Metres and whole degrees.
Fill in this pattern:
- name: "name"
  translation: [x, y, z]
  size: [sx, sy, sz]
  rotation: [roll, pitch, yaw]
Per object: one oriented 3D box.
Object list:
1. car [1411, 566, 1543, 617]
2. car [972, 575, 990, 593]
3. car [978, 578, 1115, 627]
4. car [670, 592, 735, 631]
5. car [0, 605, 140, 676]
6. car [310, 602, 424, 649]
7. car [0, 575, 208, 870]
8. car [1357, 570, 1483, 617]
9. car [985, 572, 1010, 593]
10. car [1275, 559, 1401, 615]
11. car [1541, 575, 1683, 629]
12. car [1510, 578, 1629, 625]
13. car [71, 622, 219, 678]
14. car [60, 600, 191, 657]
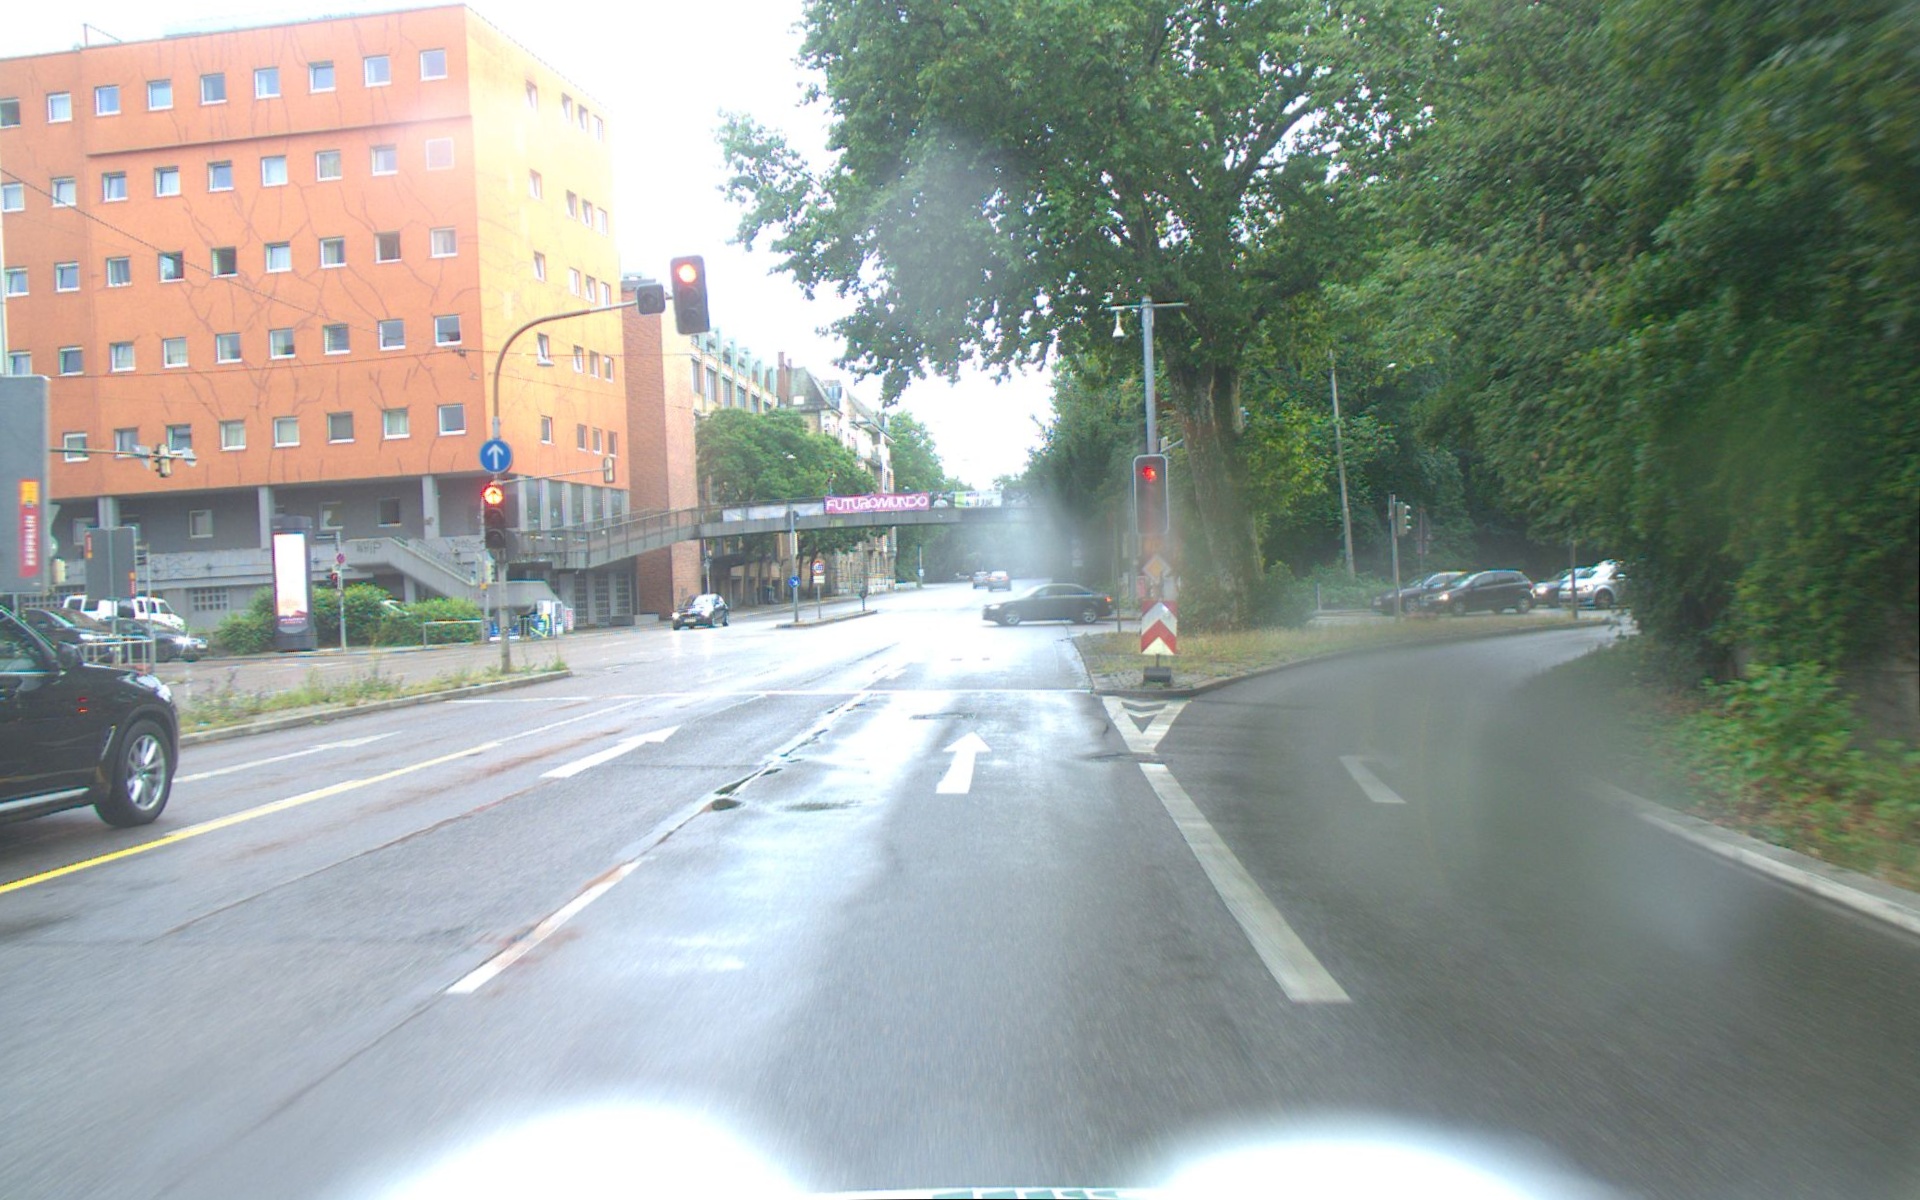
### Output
- name: "car"
  translation: [17.019, -0.272, 54.482]
  size: [3.788, 1.511, 1.667]
  rotation: [-2, -1, -13]
- name: "car"
  translation: [2.166, -1.617, 169.992]
  size: [1.727, 1.726, 3.706]
  rotation: [-4, 0, 2]
- name: "car"
  translation: [3.007, 0.083, 57.973]
  size: [4.514, 1.476, 1.772]
  rotation: [-3, 0, -6]
- name: "car"
  translation: [-10.933, 0.478, 70.447]
  size: [1.952, 1.545, 4.001]
  rotation: [-3, 0, 2]
- name: "car"
  translation: [-28.198, 1.286, 50.948]
  size: [4.968, 1.877, 2.002]
  rotation: [-5, -1, 10]
- name: "car"
  translation: [-24.443, 1.048, 68.234]
  size: [3.929, 1.646, 1.896]
  rotation: [-4, 0, 11]
- name: "car"
  translation: [-6.316, 0.707, 9.321]
  size: [1.907, 1.625, 4.671]
  rotation: [-1, 1, 1]
- name: "car"
  translation: [16.253, -0.238, 58.453]
  size: [3.926, 1.512, 1.869]
  rotation: [-2, 0, -18]
- name: "car"
  translation: [3.301, -1.561, 146.913]
  size: [2.077, 1.765, 4.198]
  rotation: [-1, 1, -1]
- name: "car"
  translation: [14.924, -0.498, 65.429]
  size: [4.263, 1.867, 2.130]
  rotation: [-4, 0, -12]
- name: "car"
  translation: [22.278, 0.074, 56.555]
  size: [4.187, 1.511, 1.768]
  rotation: [-4, 0, -13]
- name: "car"
  translation: [21.933, 0.057, 59.551]
  size: [3.764, 1.512, 1.736]
  rotation: [-2, 0, -18]
- name: "car"
  translation: [-26.228, 1.590, 53.272]
  size: [4.047, 1.471, 1.587]
  rotation: [-4, 0, 10]
- name: "car"
  translation: [-32.143, 1.066, 63.875]
  size: [1.951, 2.049, 4.856]
  rotation: [2, 0, 10]
